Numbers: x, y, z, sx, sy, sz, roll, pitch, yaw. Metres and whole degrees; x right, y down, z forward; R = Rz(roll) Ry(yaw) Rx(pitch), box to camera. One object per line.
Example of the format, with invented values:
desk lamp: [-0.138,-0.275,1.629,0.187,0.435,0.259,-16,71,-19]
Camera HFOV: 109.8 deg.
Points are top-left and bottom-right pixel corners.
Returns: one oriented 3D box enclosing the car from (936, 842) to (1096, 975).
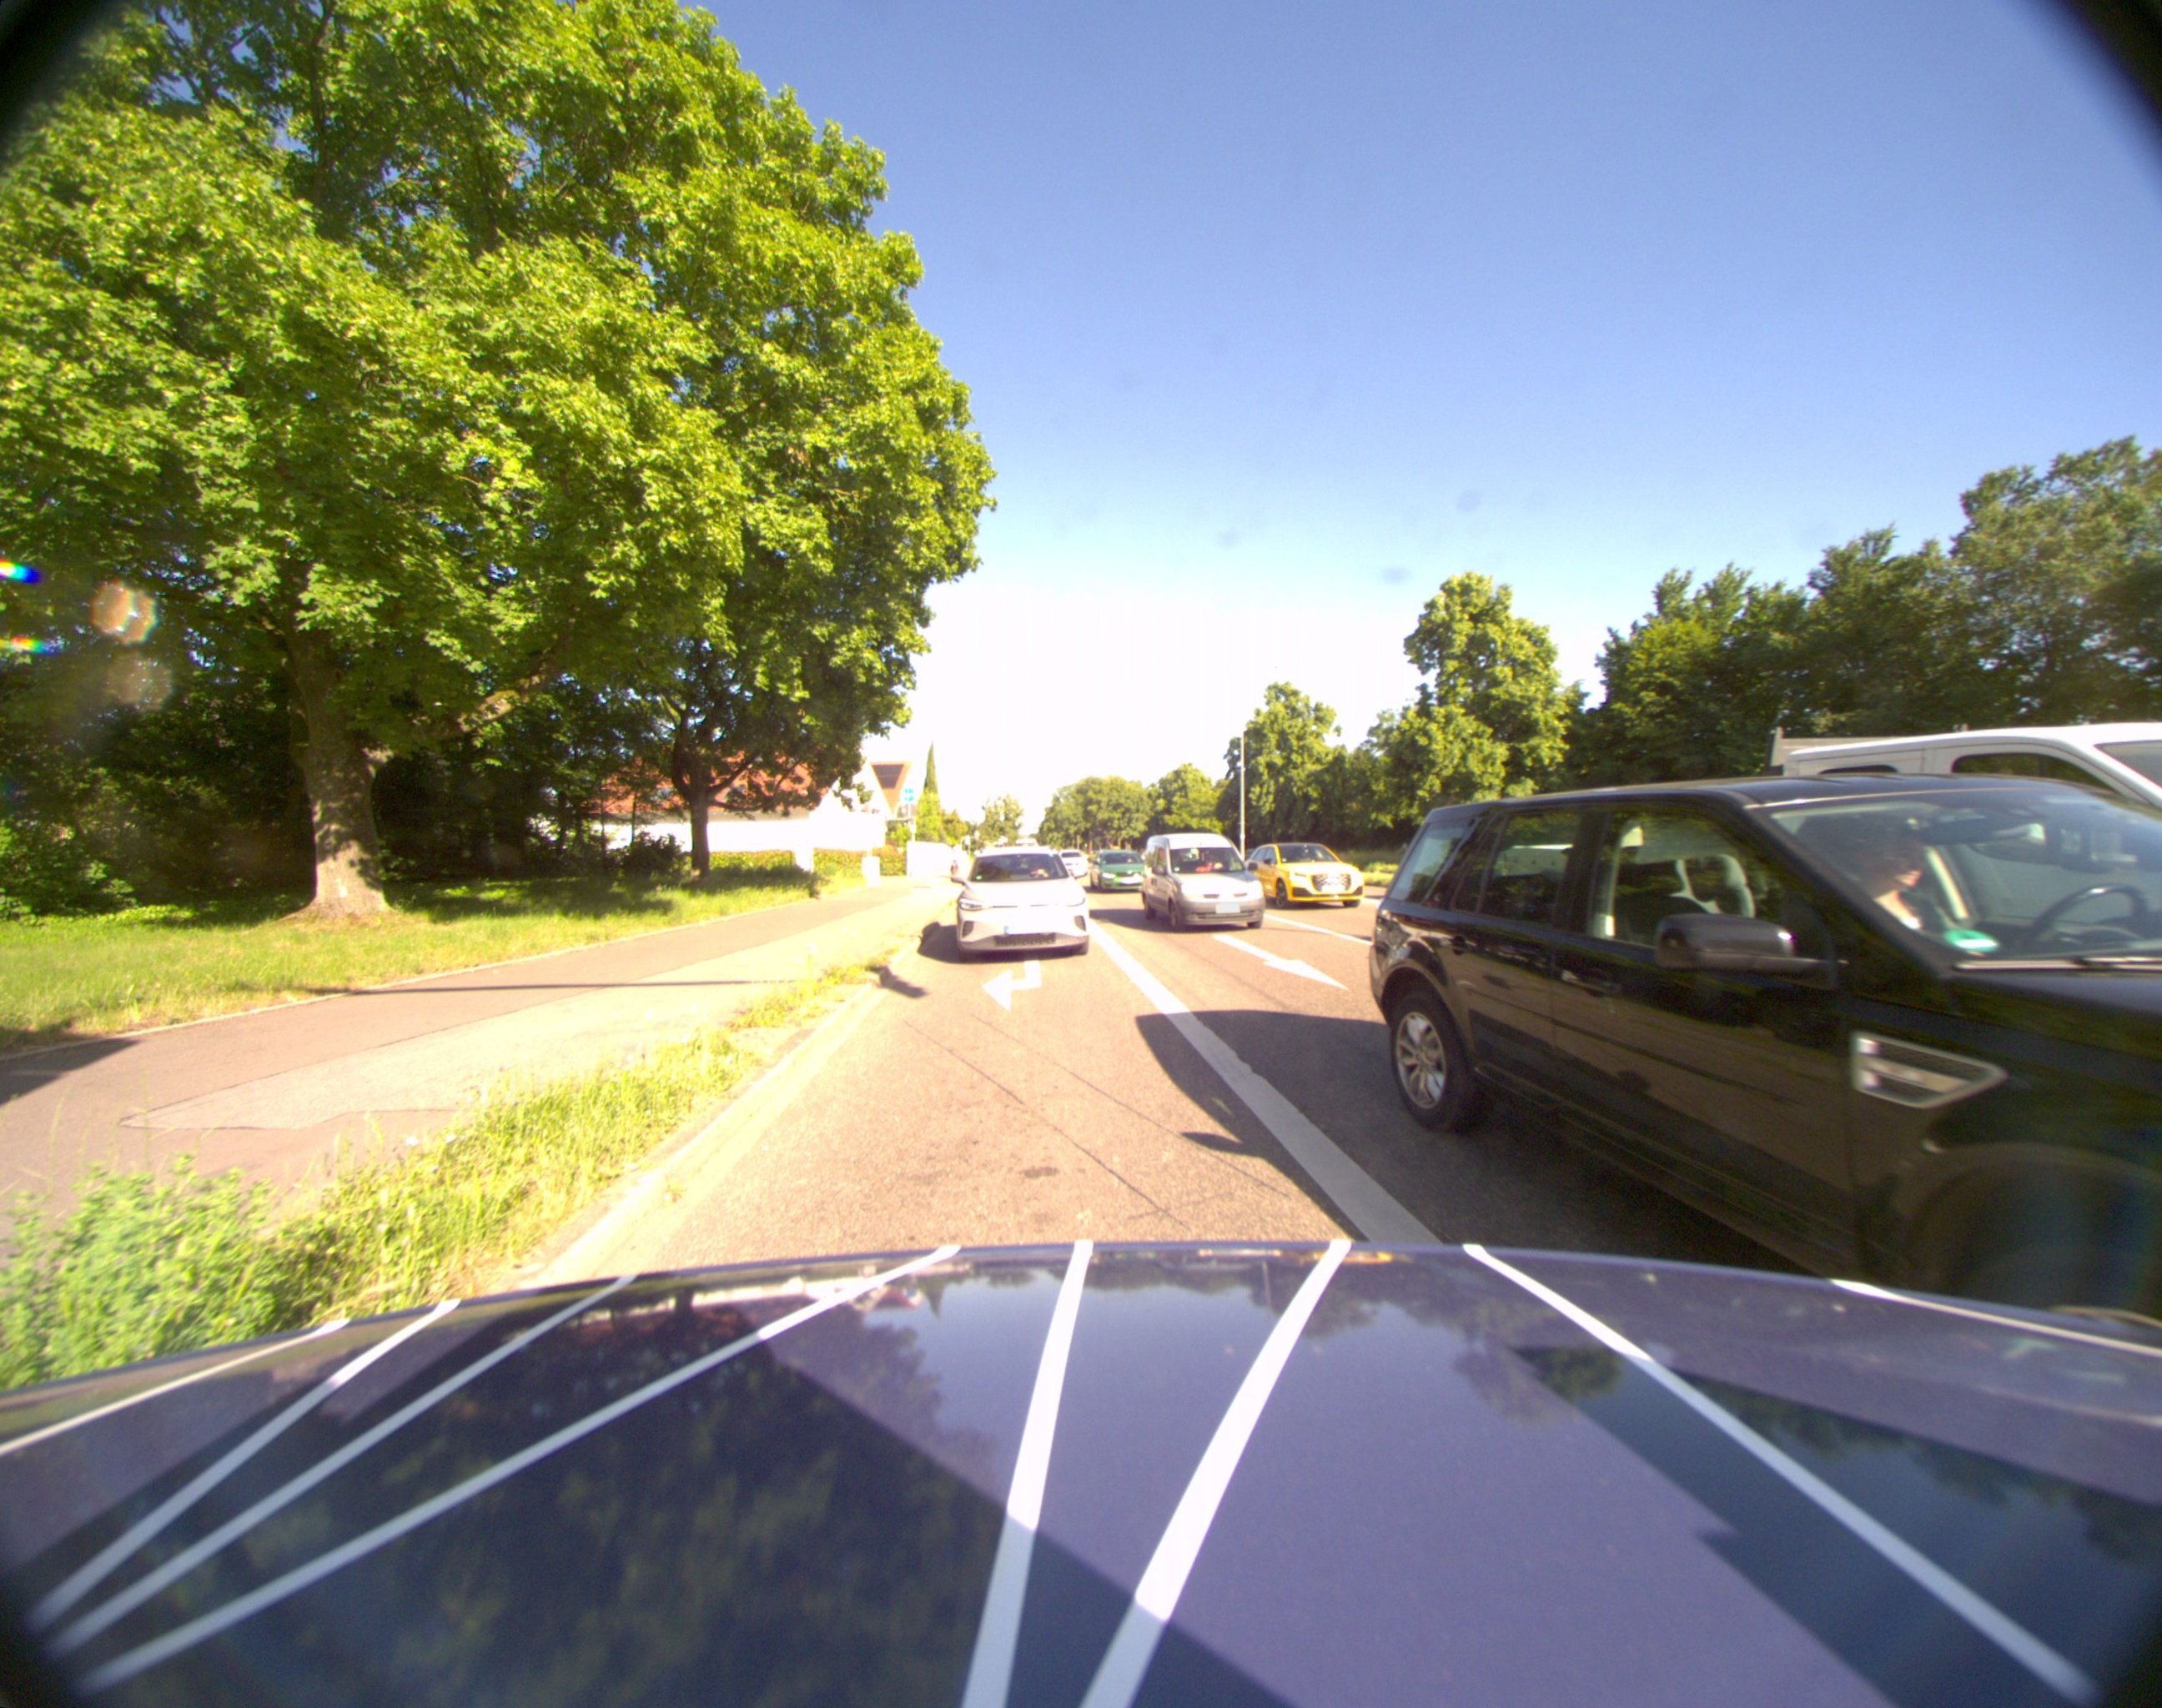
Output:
car: [-0.946,0.677,12.058,1.993,1.631,4.363,-3,1,-3]

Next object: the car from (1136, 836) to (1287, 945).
car: [2.335,0.567,14.802,1.920,1.719,4.363,-3,1,-3]

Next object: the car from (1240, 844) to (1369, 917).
car: [5.223,0.544,18.327,1.727,1.492,3.998,-3,1,-3]

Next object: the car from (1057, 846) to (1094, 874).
car: [-0.372,0.344,45.298,1.920,1.477,4.363,-3,1,-3]

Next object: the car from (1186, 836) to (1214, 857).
car: [12.502,-0.832,80.035,1.918,2.073,4.537,-3,1,-4]

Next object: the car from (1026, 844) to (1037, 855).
car: [-8.426,-0.737,128.851,1.841,1.788,3.909,-3,1,-5]

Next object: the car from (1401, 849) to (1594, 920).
car: [9.368,0.596,17.586,1.836,1.397,4.352,-1,1,-5]

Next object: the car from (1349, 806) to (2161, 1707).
car: [2.705,0.714,2.513,1.827,1.674,4.389,-2,1,-4]

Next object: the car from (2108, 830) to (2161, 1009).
car: [10.244,0.578,4.747,1.836,1.529,4.192,0,1,-5]

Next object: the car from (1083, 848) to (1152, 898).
car: [1.189,0.596,26.488,1.920,1.477,4.363,-3,1,-3]

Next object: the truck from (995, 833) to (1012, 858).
truck: [-10.141,-1.164,99.712,1.999,3.059,5.804,-3,1,-5]

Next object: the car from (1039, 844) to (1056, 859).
car: [-4.199,-0.367,94.622,1.799,1.788,3.909,-3,1,-5]

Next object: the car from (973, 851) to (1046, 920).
car: [-1.903,0.746,20.582,1.692,1.564,4.118,-3,1,-5]

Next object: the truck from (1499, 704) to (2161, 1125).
truck: [6.786,0.299,6.528,2.191,2.296,6.770,-1,1,-5]

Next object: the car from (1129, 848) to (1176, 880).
car: [3.591,0.453,38.687,1.692,1.432,3.909,-3,1,-5]
